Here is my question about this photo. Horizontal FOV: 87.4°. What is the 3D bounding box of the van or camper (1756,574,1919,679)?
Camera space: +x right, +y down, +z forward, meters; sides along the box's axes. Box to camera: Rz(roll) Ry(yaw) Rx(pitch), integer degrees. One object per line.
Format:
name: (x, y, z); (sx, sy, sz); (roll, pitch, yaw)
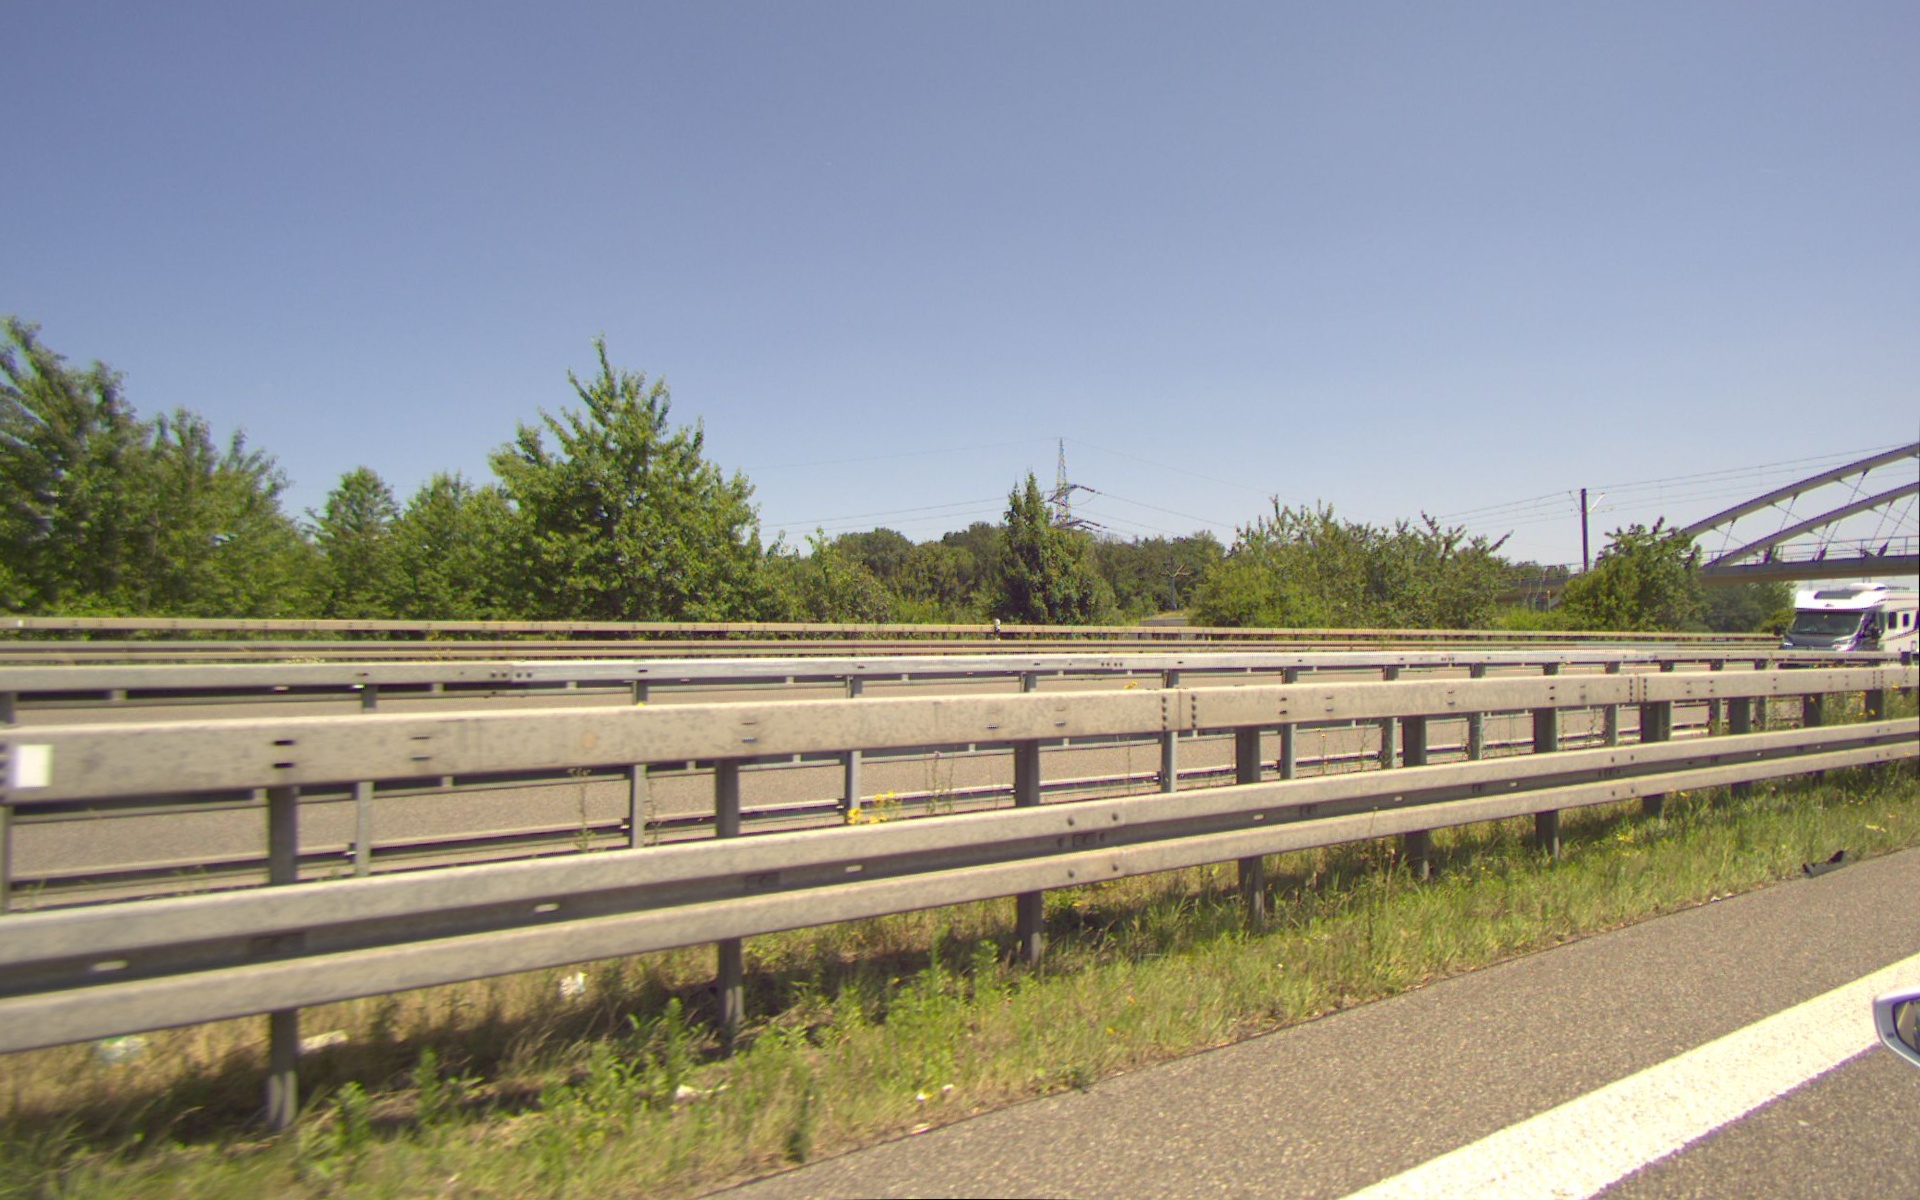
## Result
van or camper: (29.422, 0.862, 32.925); (8.025, 3.128, 2.433); (1, -1, -30)
